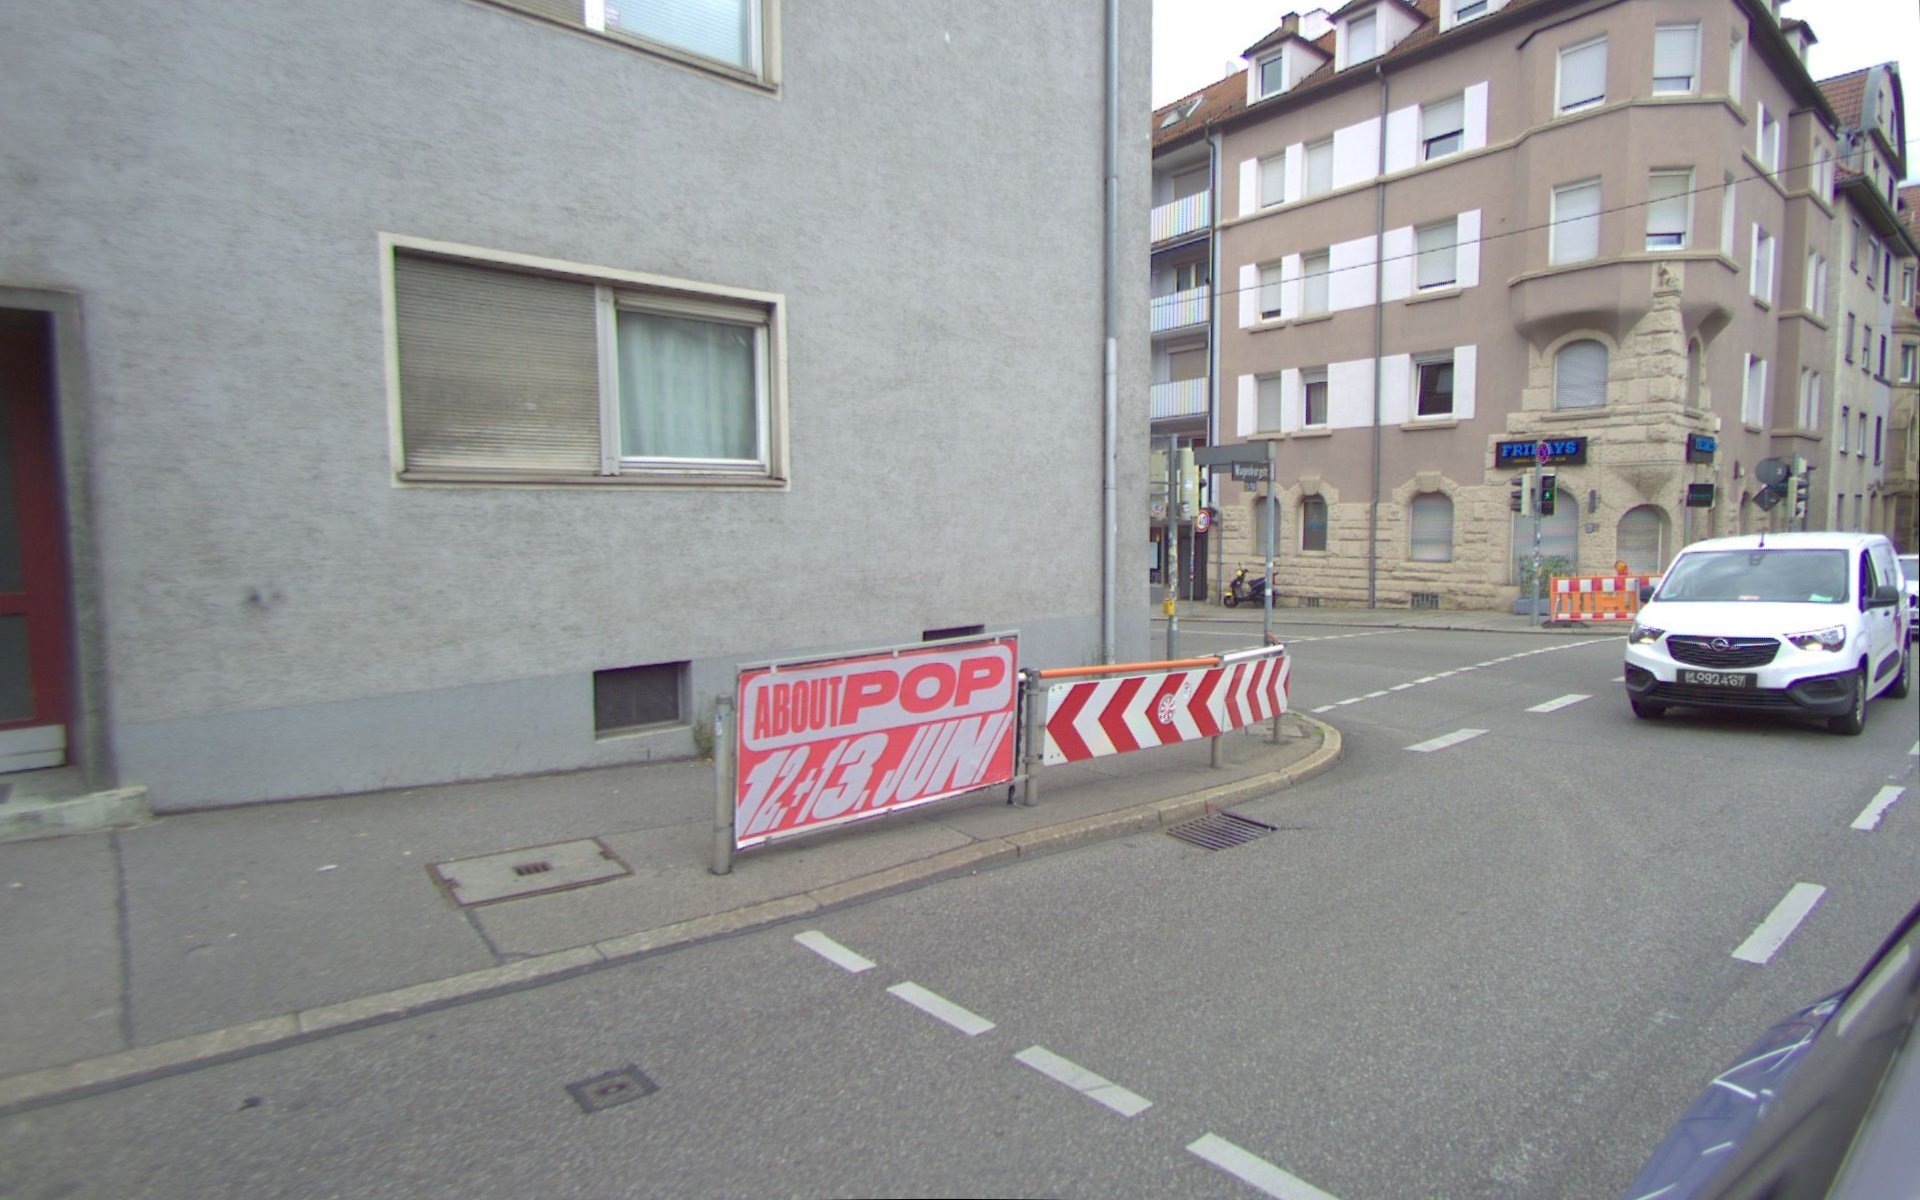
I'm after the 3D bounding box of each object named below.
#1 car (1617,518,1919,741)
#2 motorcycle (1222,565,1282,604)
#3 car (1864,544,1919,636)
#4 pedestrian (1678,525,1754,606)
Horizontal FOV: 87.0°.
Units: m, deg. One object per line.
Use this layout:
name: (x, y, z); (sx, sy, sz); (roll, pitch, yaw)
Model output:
car: (8.738, 0.108, 10.634); (4.761, 1.811, 1.787); (-5, 3, -40)
motorcycle: (8.523, -0.474, 29.589); (0.506, 1.095, 1.683); (-5, 5, -38)
car: (18.649, -0.200, 19.203); (4.092, 1.628, 1.778); (-1, 1, -42)
pedestrian: (15.979, -0.731, 21.411); (0.986, 1.668, 0.735); (1, 2, 3)
